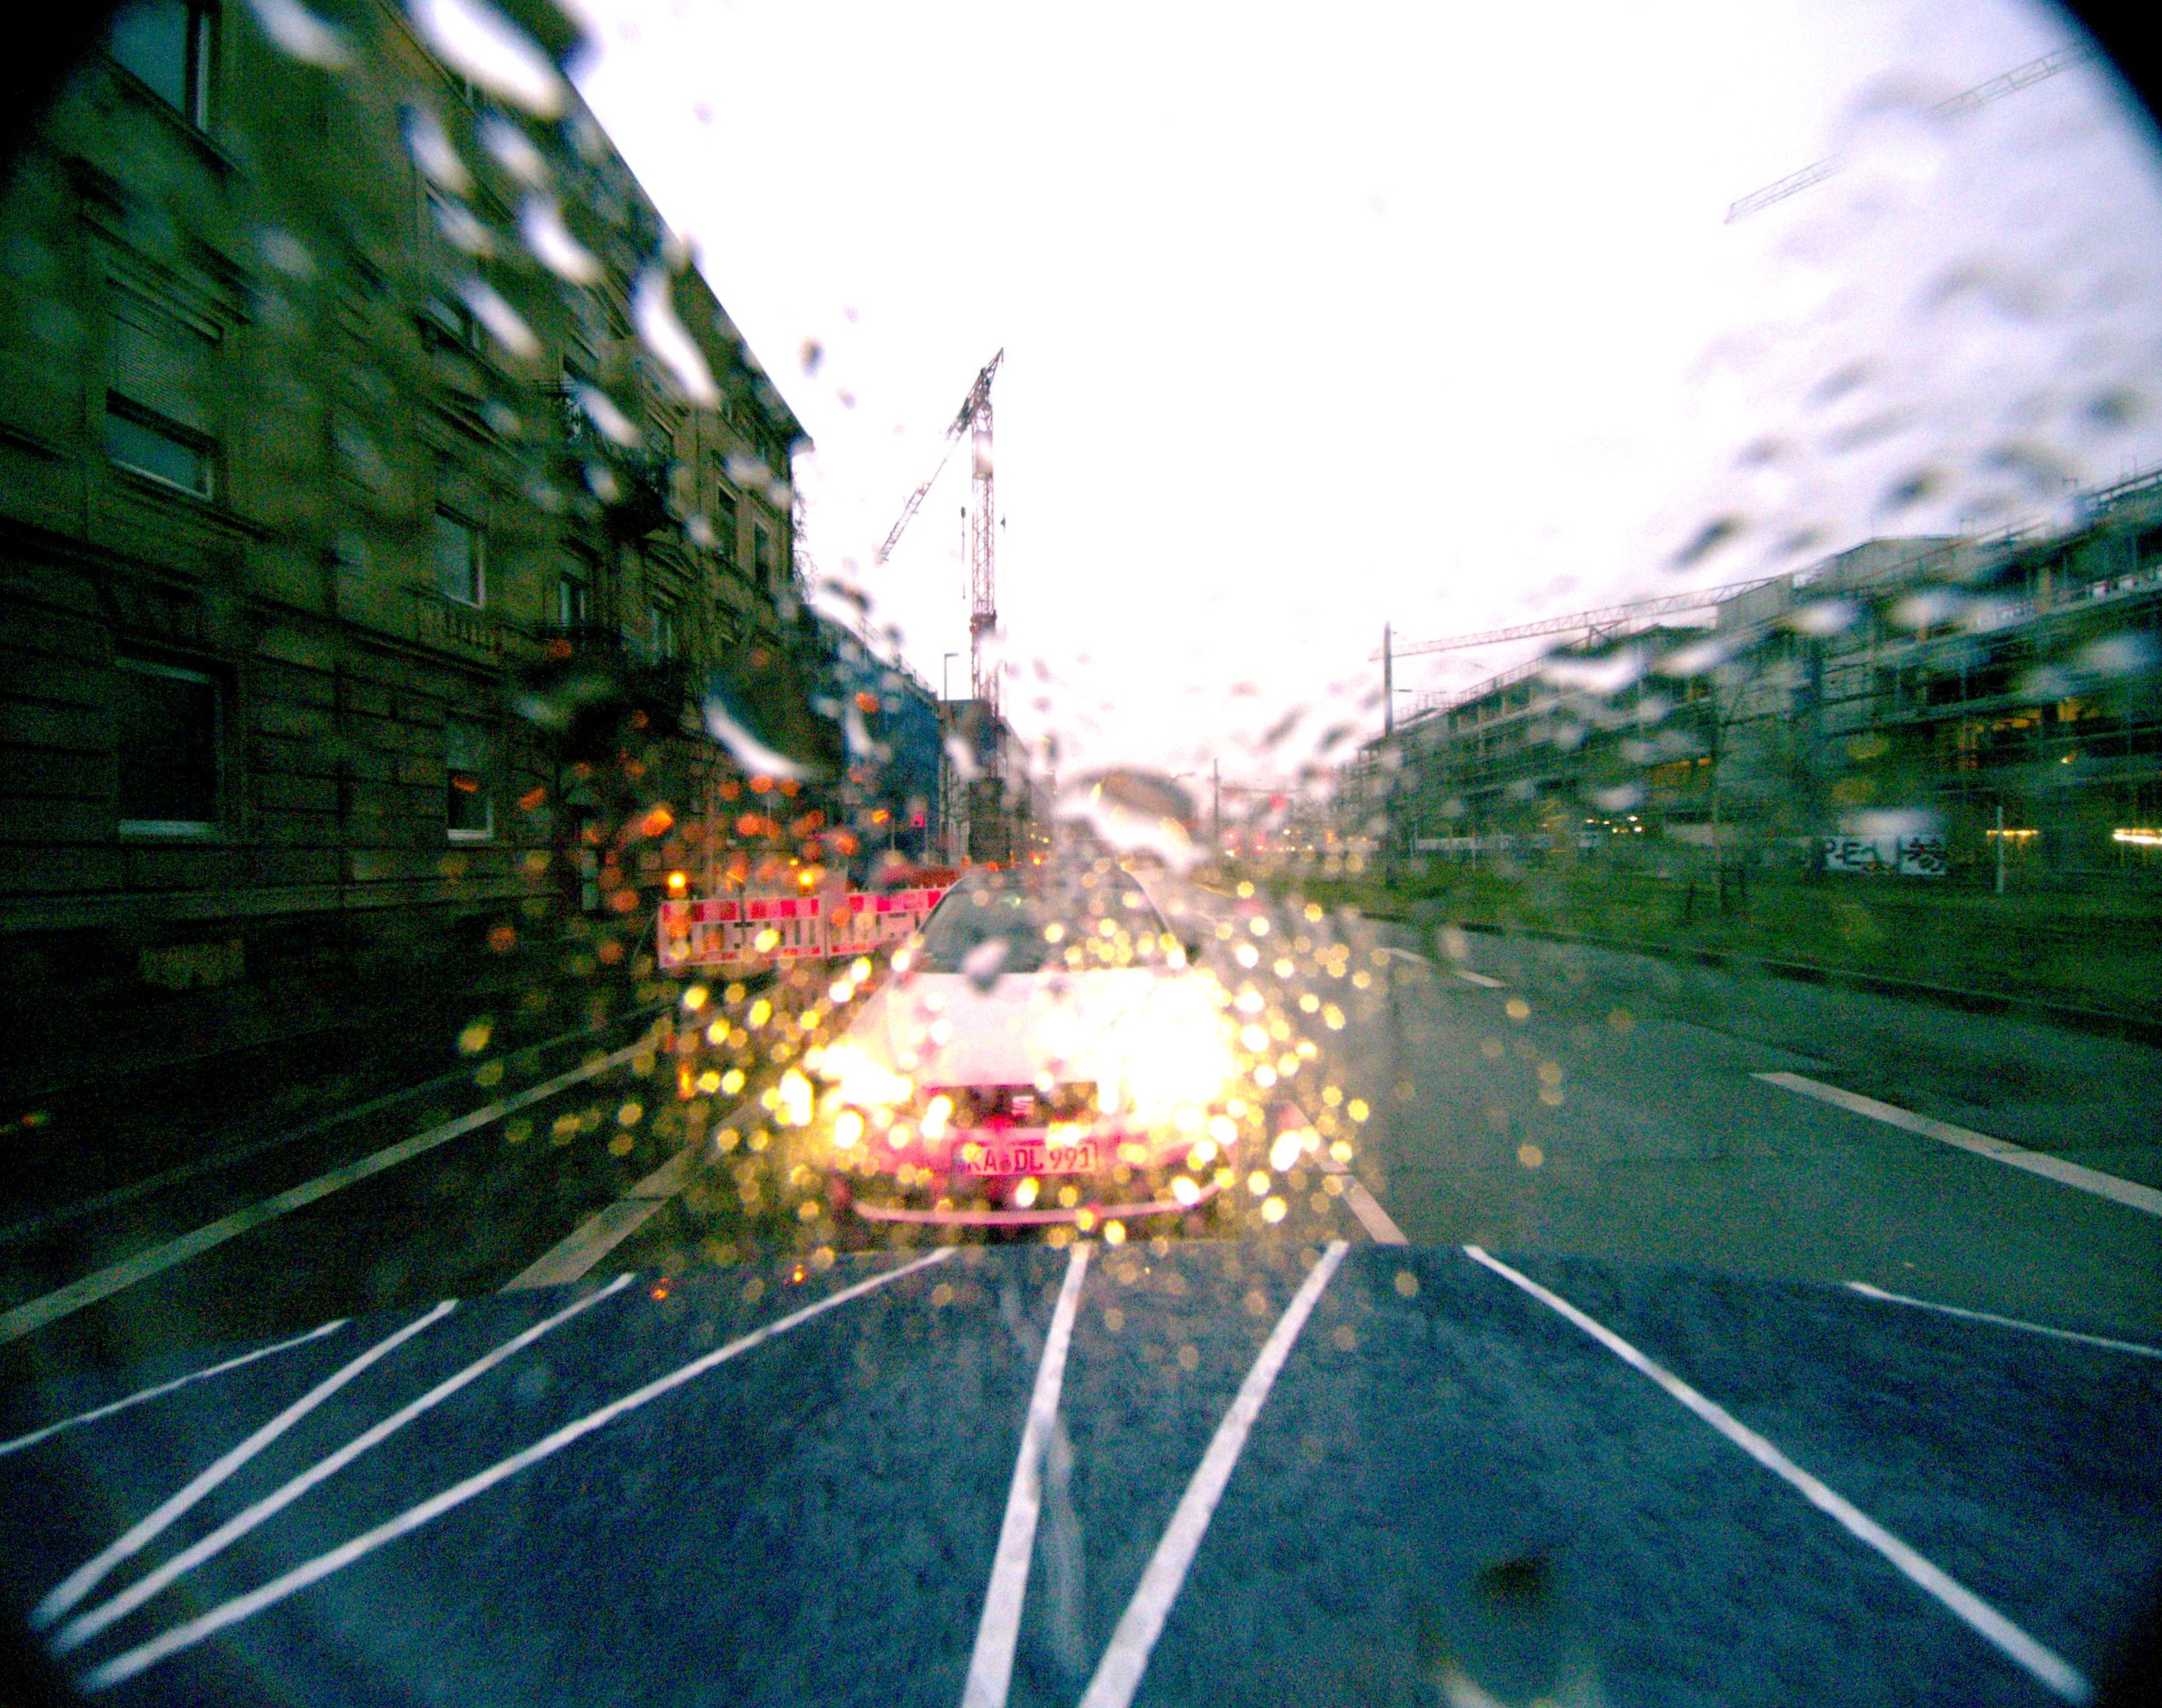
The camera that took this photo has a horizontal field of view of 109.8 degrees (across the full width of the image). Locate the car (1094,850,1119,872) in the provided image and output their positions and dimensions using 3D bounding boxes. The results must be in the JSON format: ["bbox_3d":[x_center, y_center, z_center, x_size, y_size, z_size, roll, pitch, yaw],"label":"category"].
[{"bbox_3d":[1.934,0.545,58.607,1.769,1.504,3.899,-3,1,0],"label":"car"}]

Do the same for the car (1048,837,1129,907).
[{"bbox_3d":[0.168,0.374,19.320,1.769,1.504,3.899,-3,1,0],"label":"car"}]

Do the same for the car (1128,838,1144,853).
[{"bbox_3d":[6.298,-0.998,87.352,1.768,1.614,3.900,-3,1,4],"label":"car"}]

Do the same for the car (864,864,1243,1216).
[{"bbox_3d":[-0.134,0.931,5.629,1.769,1.504,3.899,-3,1,0],"label":"car"}]

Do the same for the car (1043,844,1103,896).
[{"bbox_3d":[-0.242,0.472,25.258,1.769,1.504,3.899,-3,1,0],"label":"car"}]

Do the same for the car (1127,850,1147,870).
[{"bbox_3d":[5.120,0.523,69.749,1.768,1.614,3.900,-3,1,4],"label":"car"}]

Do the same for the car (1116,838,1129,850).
[{"bbox_3d":[5.900,-1.388,107.044,1.768,1.614,3.900,-3,1,4],"label":"car"}]

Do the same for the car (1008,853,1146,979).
[{"bbox_3d":[-0.059,0.822,12.021,1.769,1.504,3.899,-3,1,0],"label":"car"}]

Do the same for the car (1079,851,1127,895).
[{"bbox_3d":[0.840,0.718,30.871,1.769,1.504,3.899,-3,1,0],"label":"car"}]
